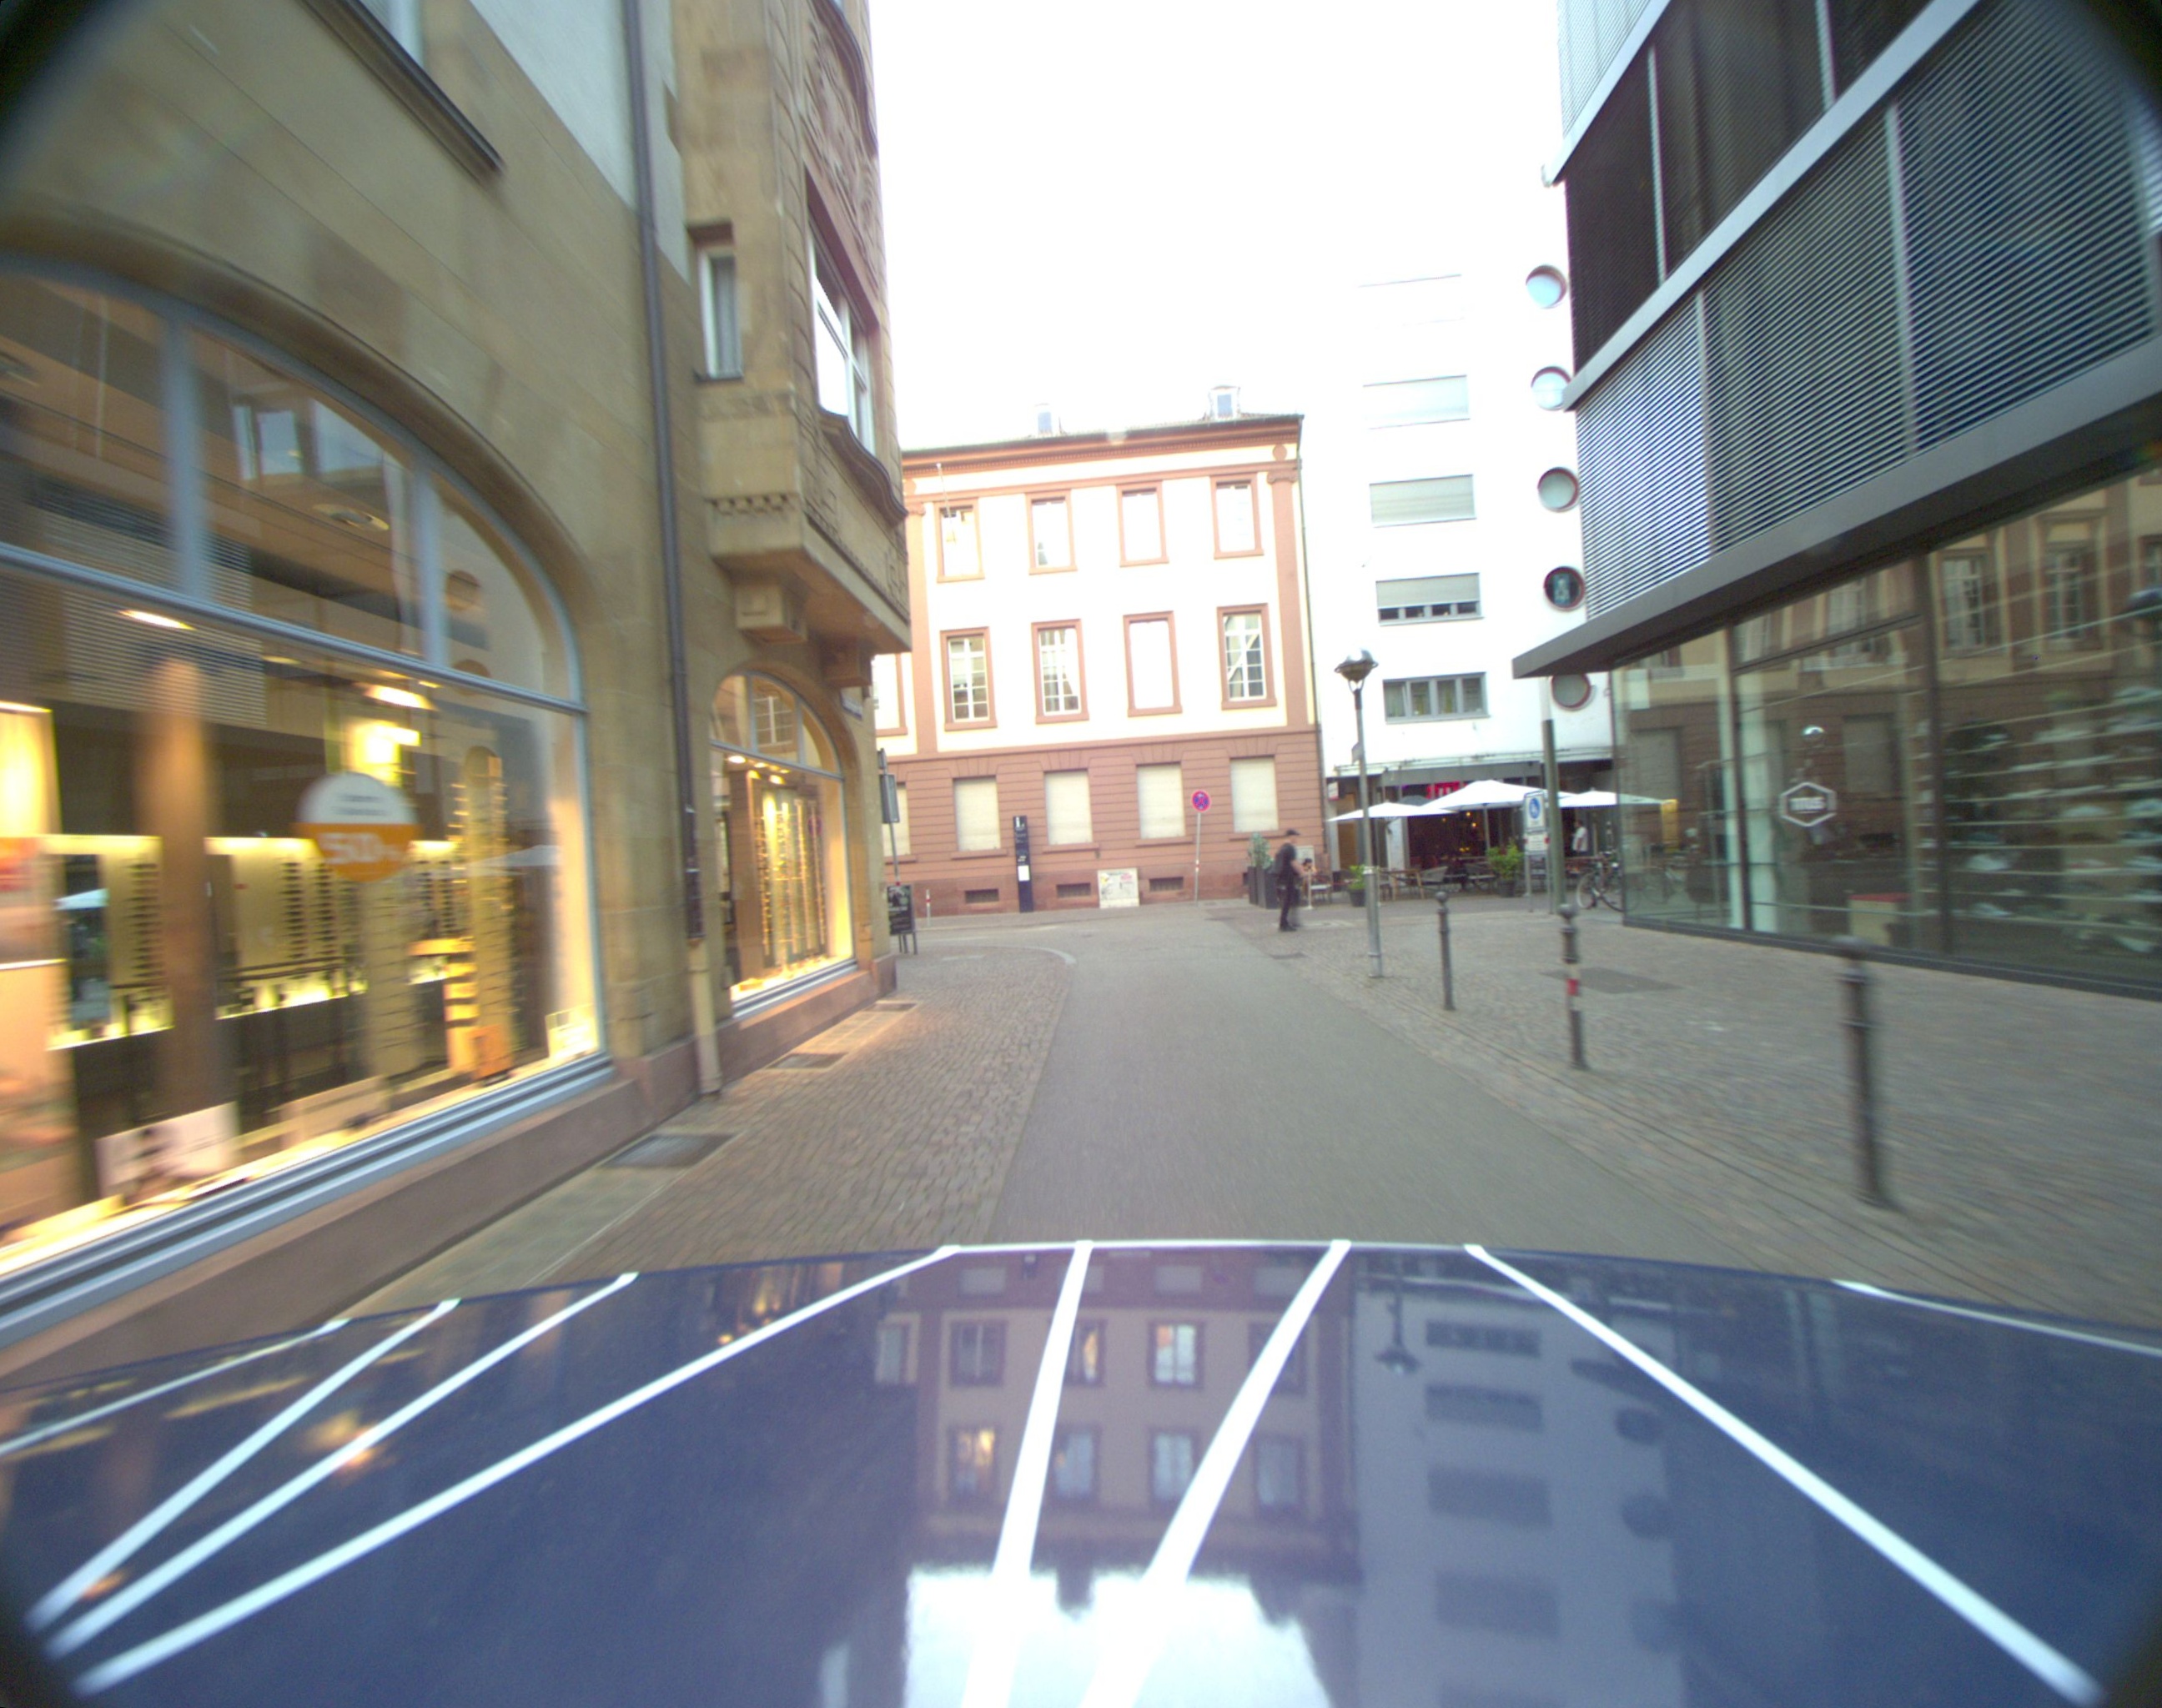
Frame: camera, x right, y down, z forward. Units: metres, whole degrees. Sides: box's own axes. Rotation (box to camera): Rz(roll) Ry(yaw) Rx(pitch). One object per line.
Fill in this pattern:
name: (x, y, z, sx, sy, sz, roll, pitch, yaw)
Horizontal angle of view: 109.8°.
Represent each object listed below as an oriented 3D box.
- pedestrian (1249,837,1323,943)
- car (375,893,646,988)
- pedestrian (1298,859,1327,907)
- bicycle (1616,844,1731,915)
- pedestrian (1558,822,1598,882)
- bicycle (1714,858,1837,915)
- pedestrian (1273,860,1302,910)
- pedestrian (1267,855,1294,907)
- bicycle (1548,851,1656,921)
pedestrian: (3.613, 0.622, 13.444, 0.968, 1.774, 0.740, -4, 0, -5)
car: (-10.871, 1.628, 14.639, 3.996, 1.434, 1.651, -4, 0, 5)
pedestrian: (6.061, 0.764, 19.923, 0.548, 1.204, 0.524, -4, 0, 5)
bicycle: (10.622, 0.452, 13.712, 0.609, 1.143, 1.842, -4, -1, 2)
pedestrian: (14.329, -0.054, 21.921, 0.671, 1.656, 0.623, -4, 1, -25)
bicycle: (11.847, 0.544, 13.037, 0.454, 0.890, 1.794, -4, -1, 2)
pedestrian: (5.090, 0.759, 18.755, 0.561, 1.204, 0.461, -4, 0, 5)
pedestrian: (5.299, 0.713, 20.229, 0.548, 1.341, 0.489, -4, 0, 5)
bicycle: (9.074, 0.547, 13.324, 0.709, 1.106, 1.674, -4, -1, 2)
